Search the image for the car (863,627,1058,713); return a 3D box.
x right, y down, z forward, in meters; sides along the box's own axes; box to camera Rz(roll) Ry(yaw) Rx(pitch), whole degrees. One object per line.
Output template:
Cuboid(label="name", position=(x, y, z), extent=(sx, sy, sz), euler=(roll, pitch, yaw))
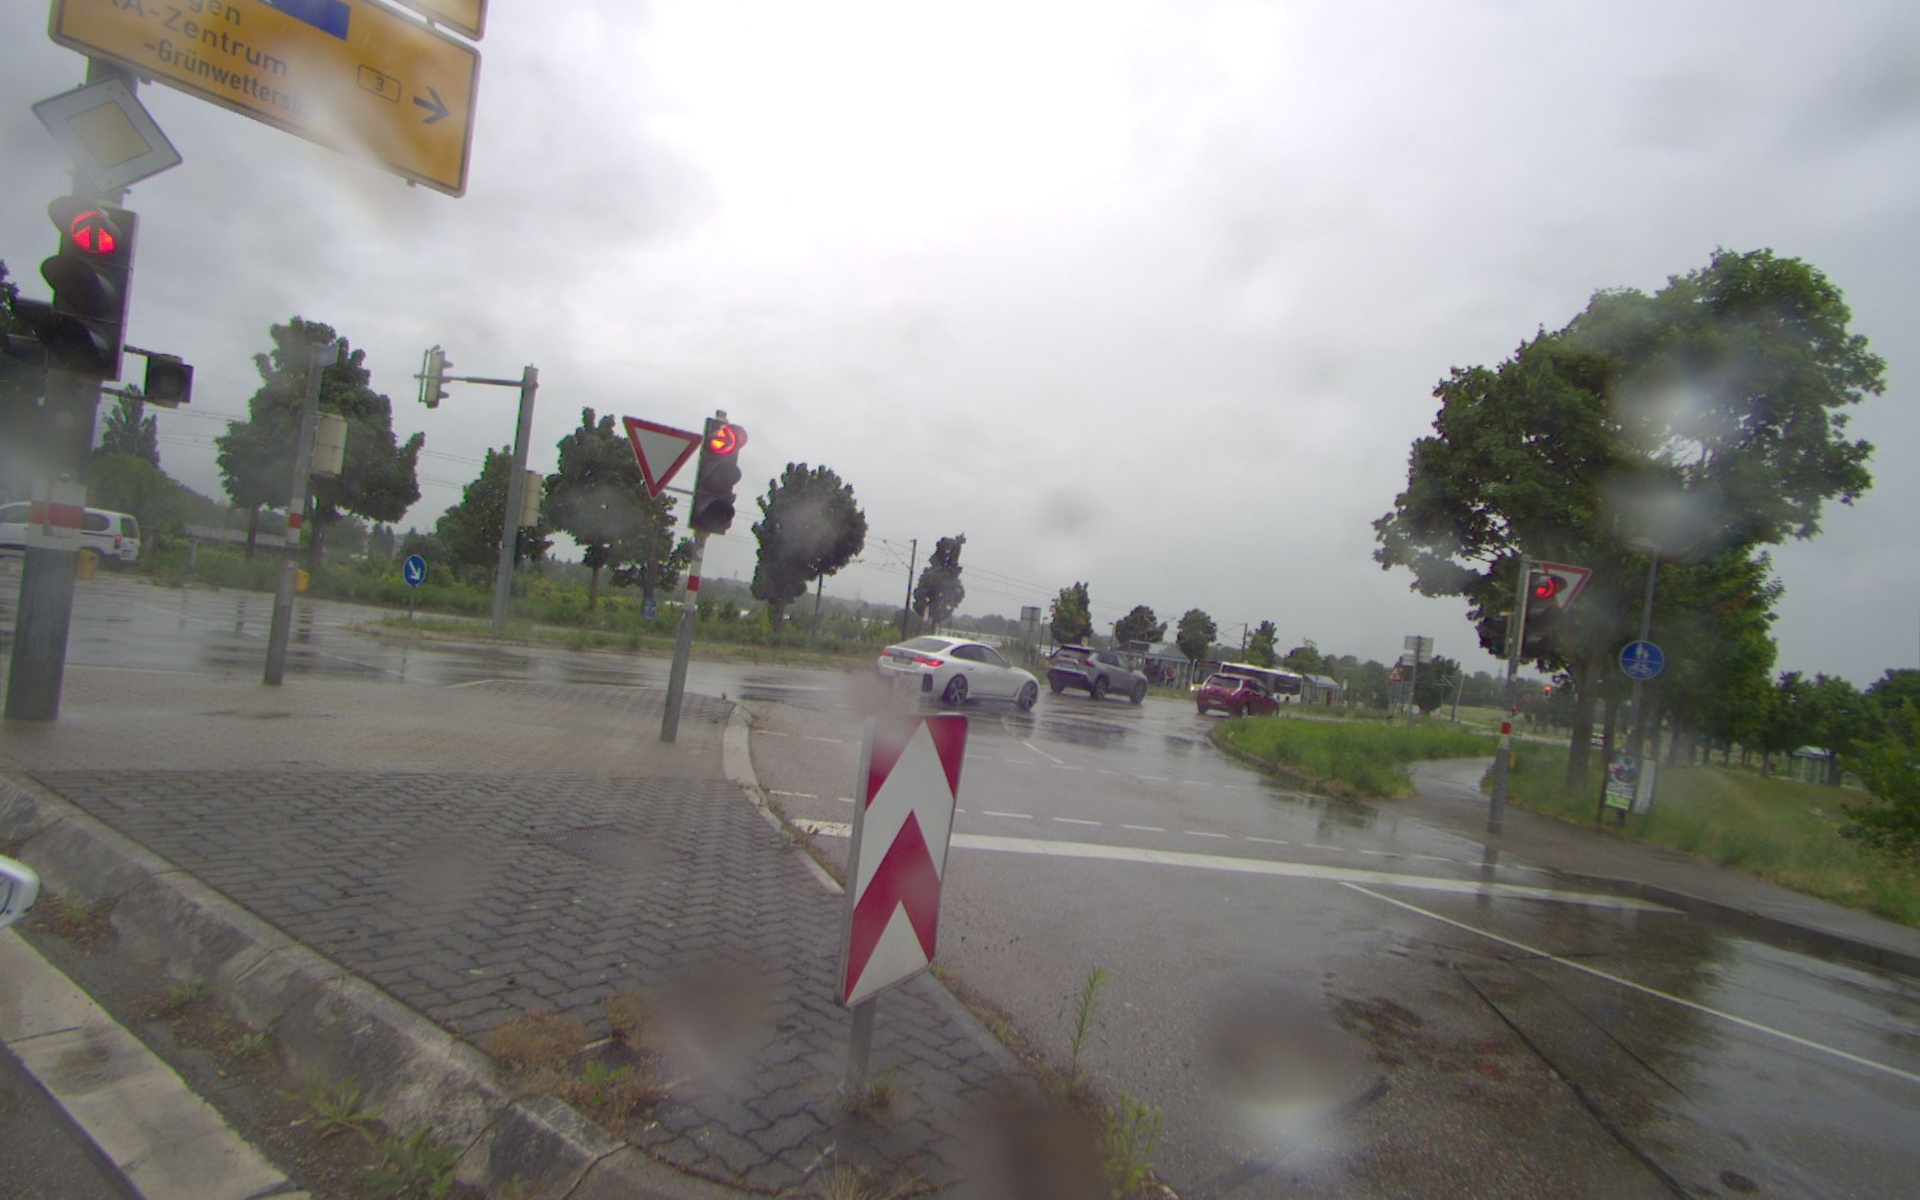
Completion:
Cuboid(label="car", position=(0.143, 1.685, 23.397), extent=(1.772, 1.572, 4.882), euler=(7, -1, 38))

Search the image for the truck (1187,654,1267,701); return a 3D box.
Cuboid(label="truck", position=(21.527, 6.262, 80.610), extent=(2.617, 2.864, 8.820), euler=(7, -2, 39))

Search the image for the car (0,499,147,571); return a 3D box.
Cuboid(label="car", position=(-26.004, -1.899, 28.413), extent=(4.294, 1.572, 1.812), euler=(8, -1, -25))

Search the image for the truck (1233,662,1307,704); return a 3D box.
Cuboid(label="truck", position=(27.116, 7.268, 87.703), extent=(2.617, 2.804, 9.323), euler=(7, -2, 39))

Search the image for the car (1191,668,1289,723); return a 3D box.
Cuboid(label="car", position=(10.213, 3.510, 36.496), extent=(1.707, 1.598, 4.375), euler=(7, -2, 39))

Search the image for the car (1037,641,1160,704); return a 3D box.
Cuboid(label="car", position=(4.788, 2.505, 34.284), extent=(1.885, 1.597, 4.527), euler=(7, -3, 40))
